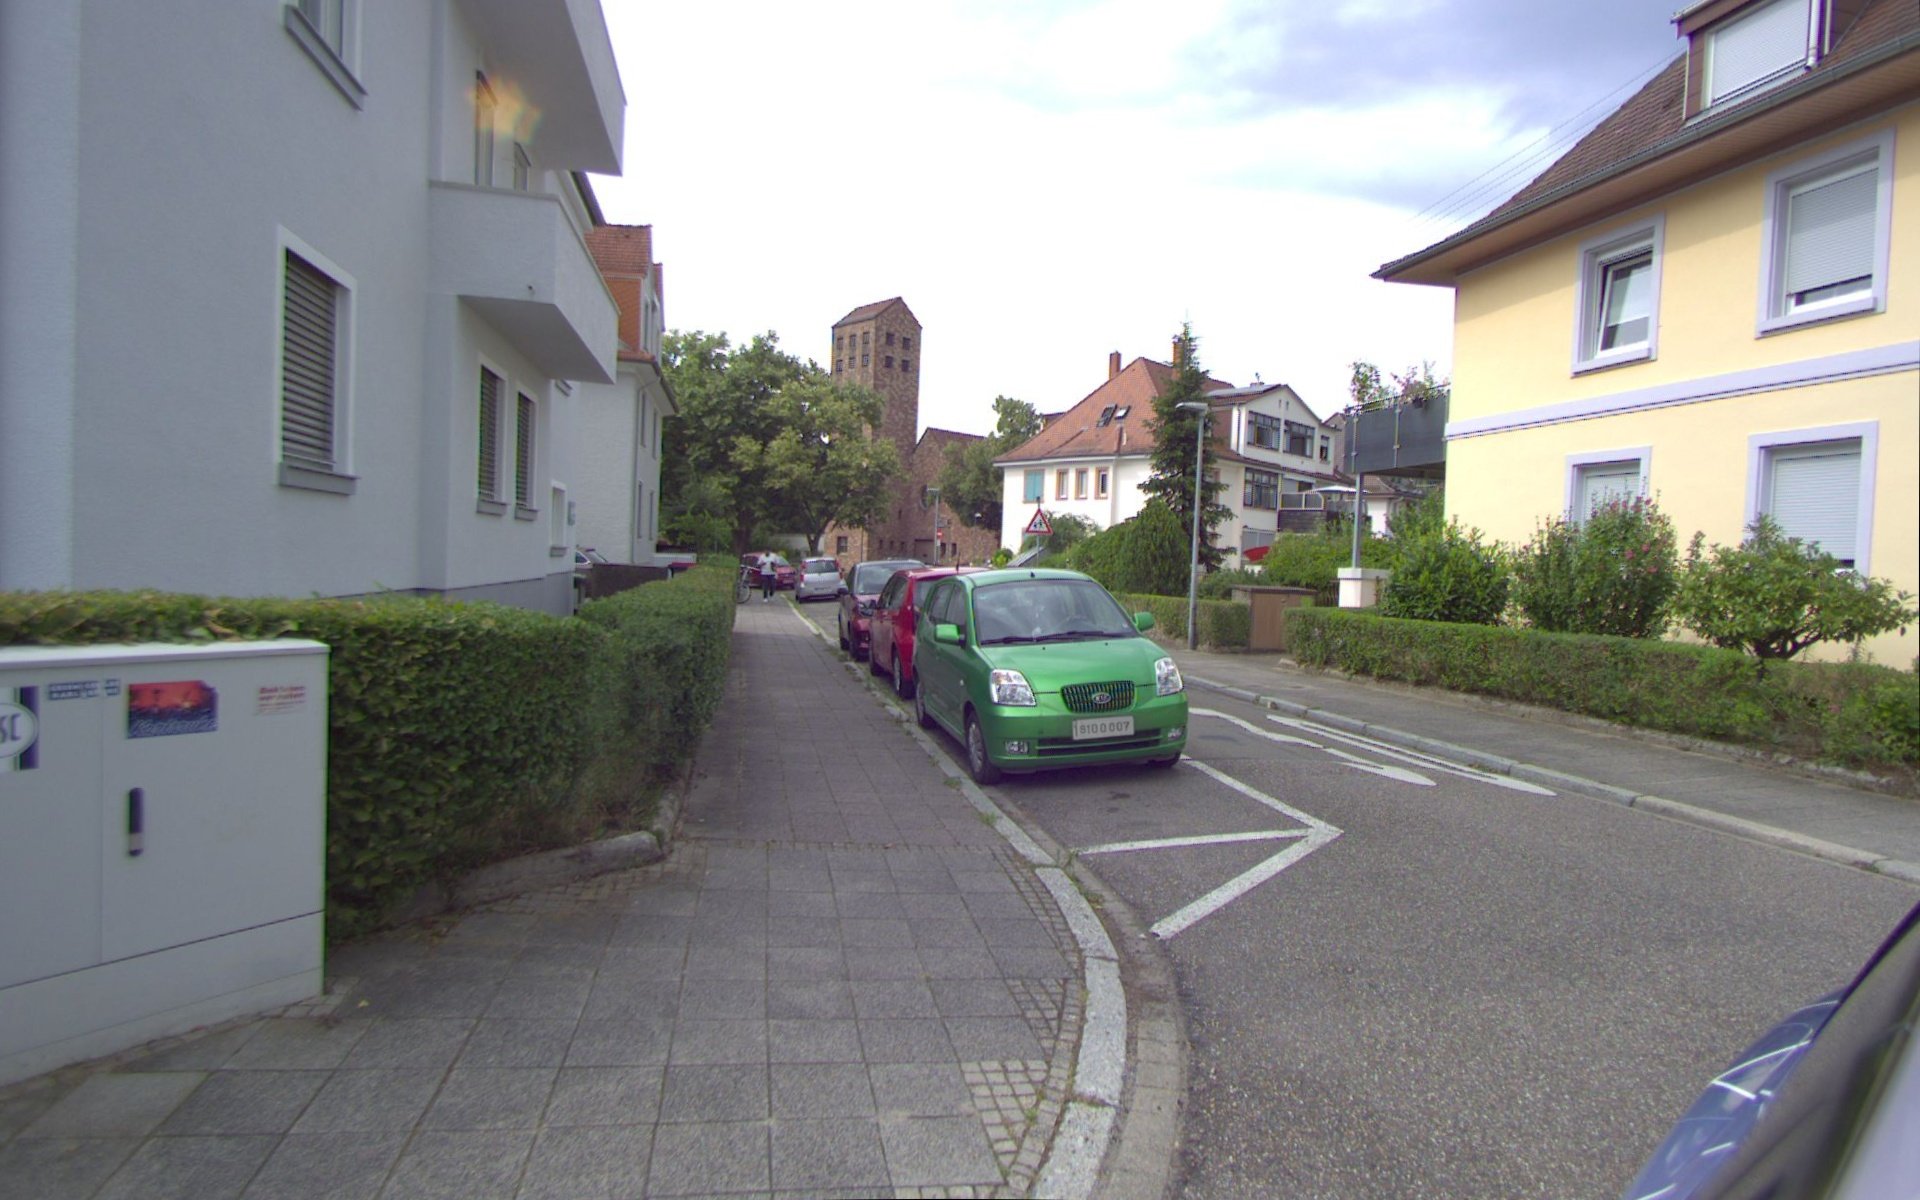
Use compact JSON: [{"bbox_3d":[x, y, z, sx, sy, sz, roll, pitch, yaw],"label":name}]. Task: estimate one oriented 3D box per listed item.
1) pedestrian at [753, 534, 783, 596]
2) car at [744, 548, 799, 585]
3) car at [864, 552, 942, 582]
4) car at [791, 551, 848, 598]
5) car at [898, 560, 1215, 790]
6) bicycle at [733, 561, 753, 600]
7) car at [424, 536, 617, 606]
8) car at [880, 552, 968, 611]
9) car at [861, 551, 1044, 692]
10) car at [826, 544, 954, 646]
[{"bbox_3d":[-6.117,-1.111,32.154,0.865,1.901,1.081,2,2,-12],"label":"pedestrian"},{"bbox_3d":[-8.252,-1.504,44.125,1.617,1.514,3.489,-2,3,-23],"label":"car"},{"bbox_3d":[-3.259,-1.868,57.486,4.139,1.481,1.689,2,4,-12],"label":"car"},{"bbox_3d":[-4.942,-0.915,35.269,1.616,1.514,3.490,-1,3,-13],"label":"car"},{"bbox_3d":[0.575,0.418,8.477,1.616,1.439,3.490,-1,3,-13],"label":"car"},{"bbox_3d":[-6.699,-0.631,31.181,0.414,1.117,2.121,2,2,-16],"label":"bicycle"},{"bbox_3d":[-10.531,-0.701,24.530,3.917,1.482,2.005,2,2,-11],"label":"car"},{"bbox_3d":[-1.162,-0.601,30.373,1.816,1.498,4.051,4,2,-13],"label":"car"},{"bbox_3d":[-0.232,0.147,12.962,1.616,1.514,3.490,-1,3,-13],"label":"car"},{"bbox_3d":[-1.275,-0.166,17.174,1.616,1.514,3.490,-1,3,-13],"label":"car"}]
